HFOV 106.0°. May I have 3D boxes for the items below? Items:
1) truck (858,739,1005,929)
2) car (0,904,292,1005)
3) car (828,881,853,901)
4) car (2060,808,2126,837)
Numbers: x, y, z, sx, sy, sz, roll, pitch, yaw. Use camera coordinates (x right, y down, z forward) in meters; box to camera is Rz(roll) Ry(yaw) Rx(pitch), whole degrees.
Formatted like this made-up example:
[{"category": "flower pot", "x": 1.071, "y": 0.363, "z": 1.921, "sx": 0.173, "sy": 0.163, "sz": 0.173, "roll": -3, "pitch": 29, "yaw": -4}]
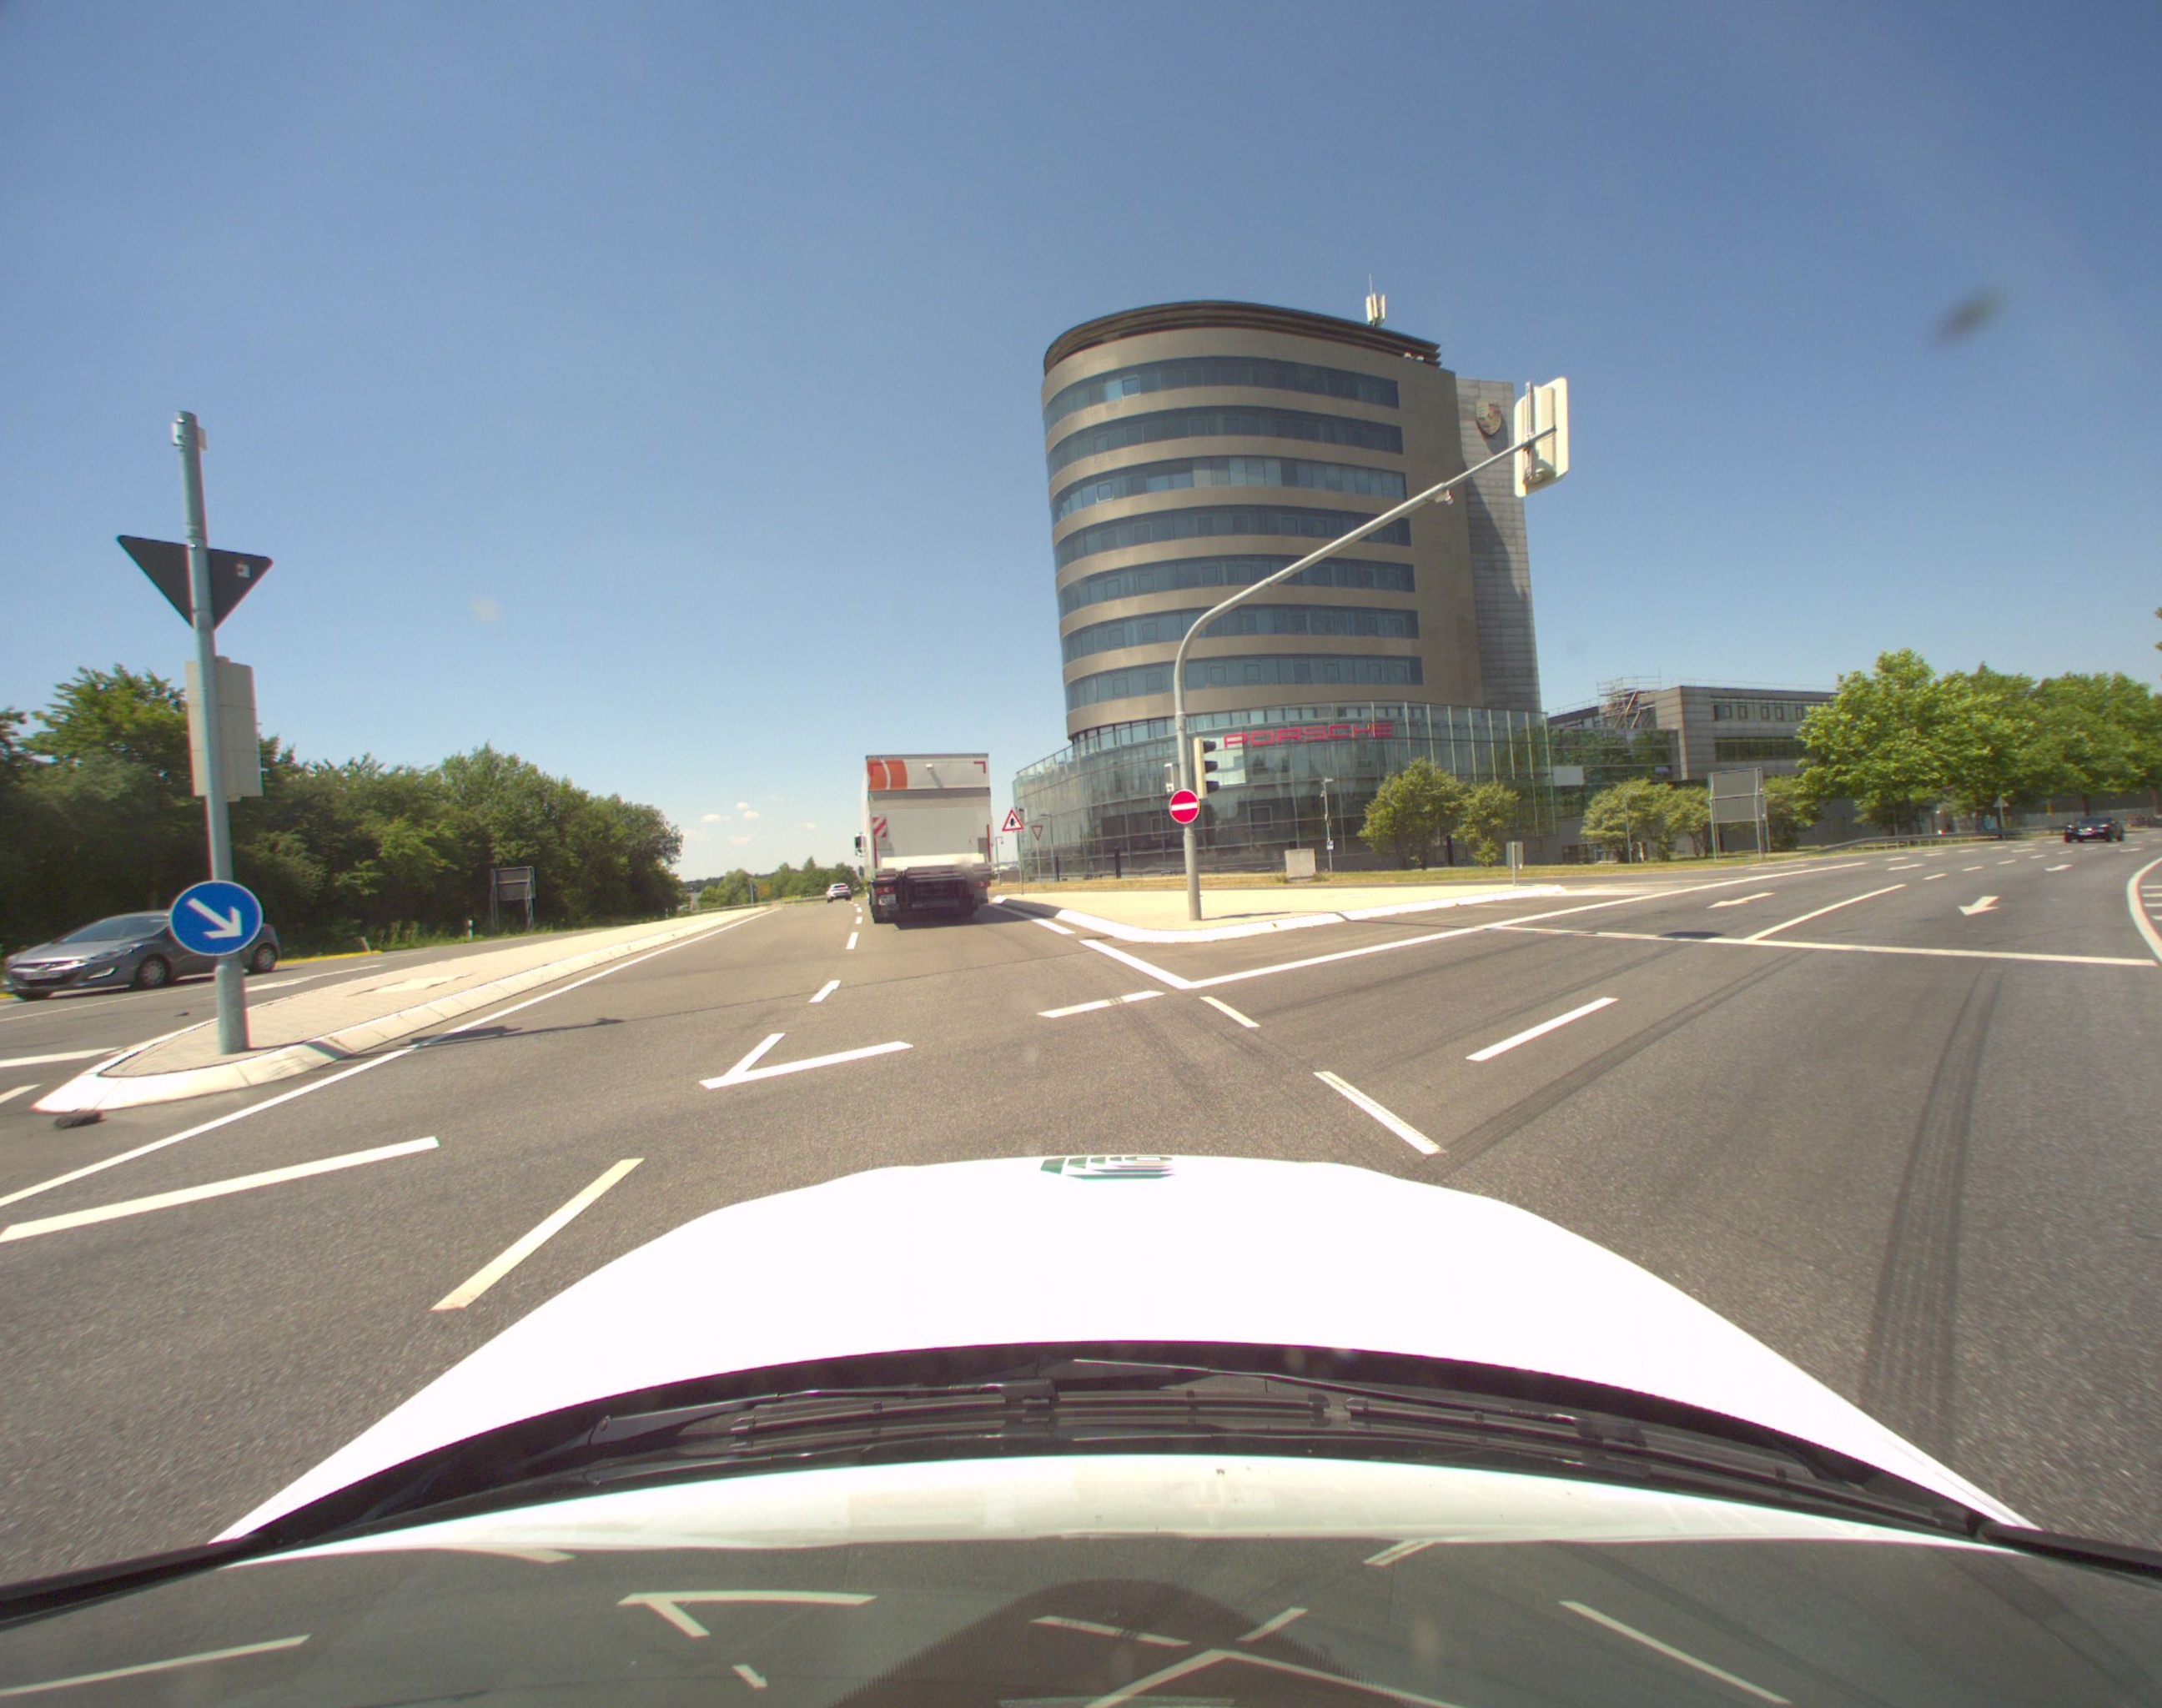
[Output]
[{"category": "truck", "x": -4.289, "y": -0.300, "z": 21.349, "sx": 2.775, "sy": 3.860, "sz": 9.318, "roll": -2, "pitch": -1, "yaw": -16}, {"category": "car", "x": -17.853, "y": 1.814, "z": 15.761, "sx": 1.694, "sy": 1.456, "sz": 4.310, "roll": -2, "pitch": -1, "yaw": -13}, {"category": "car", "x": -21.128, "y": 3.217, "z": 71.474, "sx": 1.809, "sy": 1.557, "sz": 3.972, "roll": -2, "pitch": 0, "yaw": -20}, {"category": "car", "x": 60.476, "y": -1.906, "z": 48.675, "sx": 4.009, "sy": 1.589, "sz": 1.652, "roll": -2, "pitch": 0, "yaw": -27}]
